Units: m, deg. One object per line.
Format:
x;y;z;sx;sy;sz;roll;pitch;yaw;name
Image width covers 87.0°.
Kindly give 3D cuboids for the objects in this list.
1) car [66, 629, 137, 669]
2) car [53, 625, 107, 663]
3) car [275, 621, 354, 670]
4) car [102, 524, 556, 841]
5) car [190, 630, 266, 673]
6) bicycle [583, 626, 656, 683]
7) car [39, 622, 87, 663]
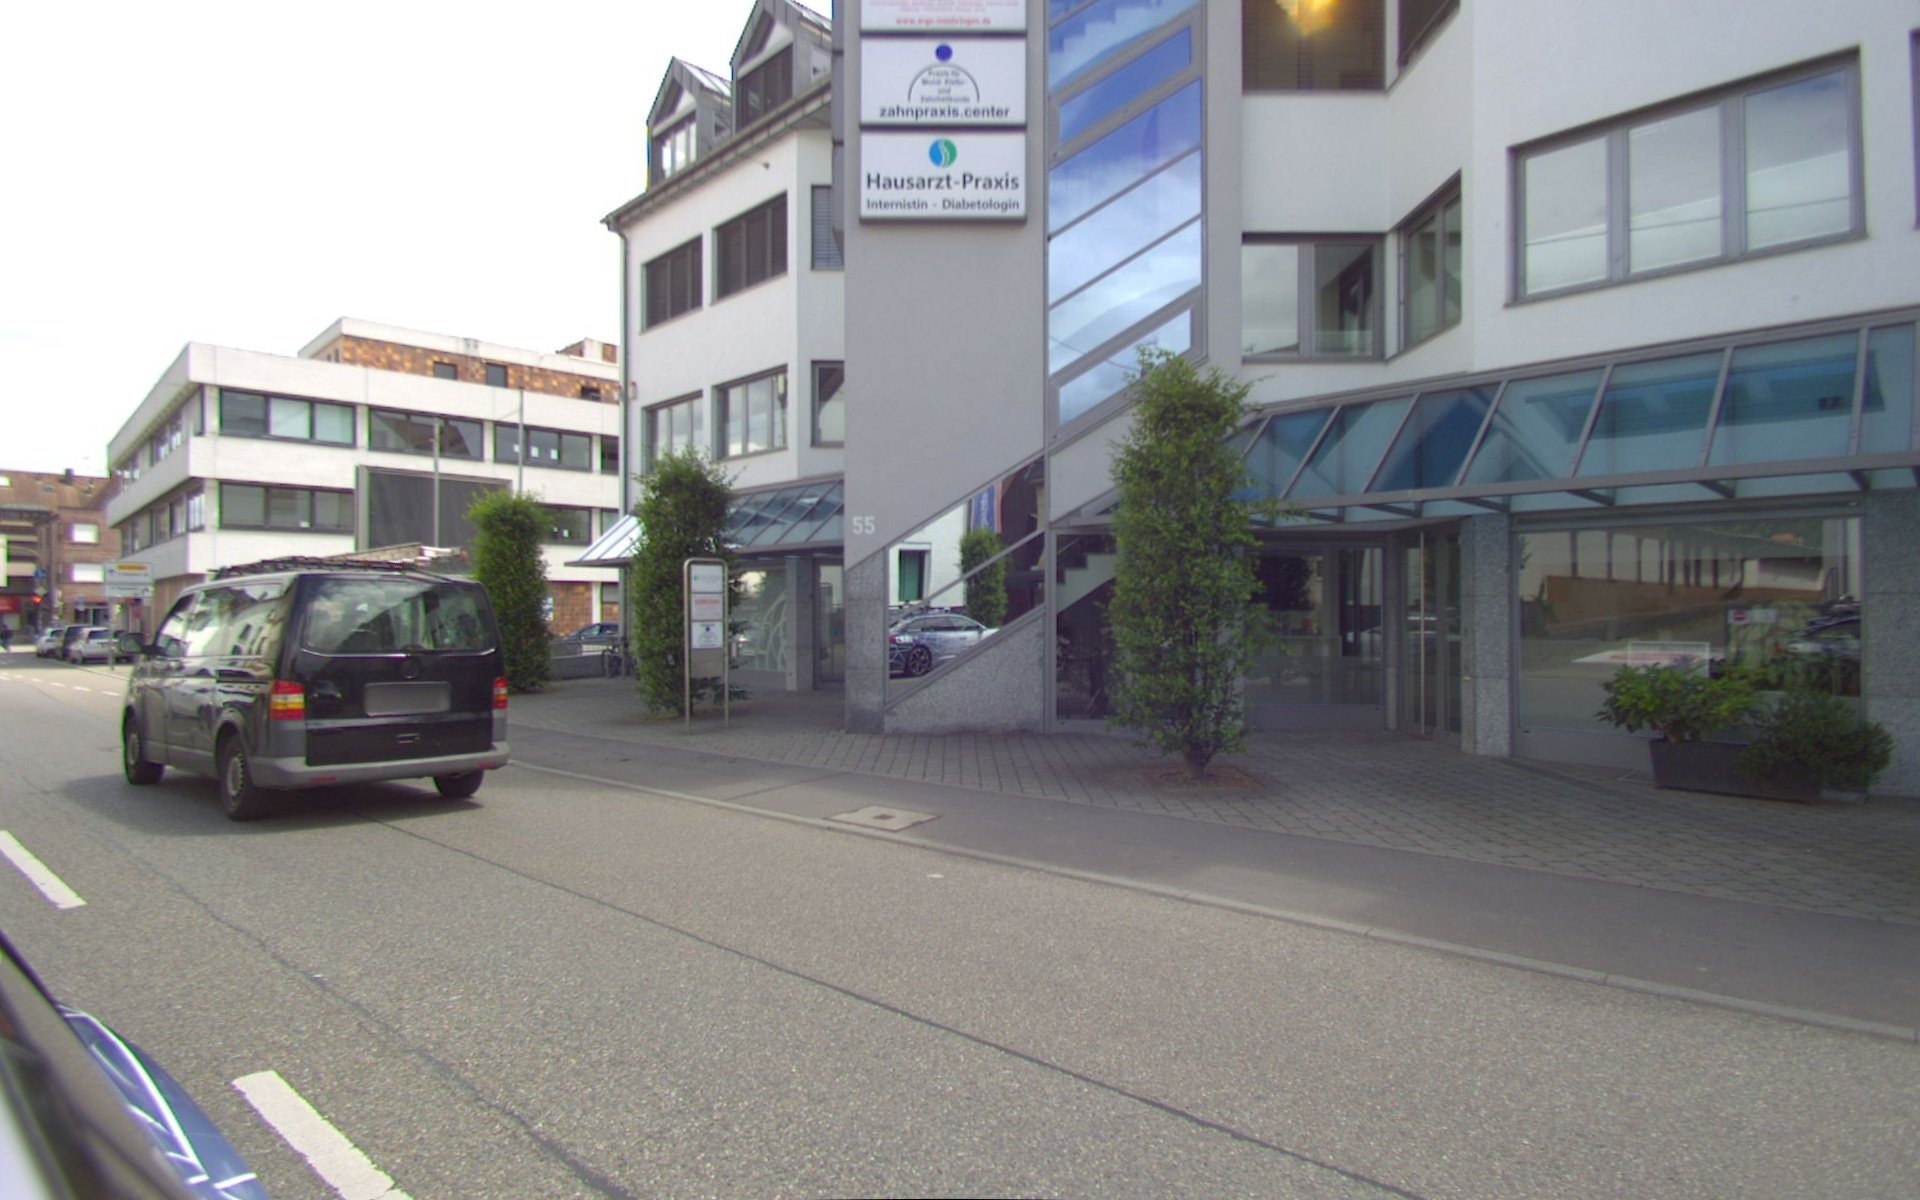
-34.698;1.935;40.857;4.220;1.437;1.815;-1;0;44;car
-39.624;1.926;45.532;1.783;1.541;4.005;-1;0;-42;car
-24.369;1.700;38.168;1.870;1.710;3.805;3;-3;-42;car
-5.961;0.636;9.307;4.878;2.168;2.090;-2;-3;40;car
-26.463;1.818;36.529;1.798;1.338;4.241;-1;0;-42;car
-7.349;1.153;21.817;1.684;1.150;0.636;-1;0;37;bicycle
-43.350;2.008;48.881;1.678;1.790;4.466;-1;0;-42;car
